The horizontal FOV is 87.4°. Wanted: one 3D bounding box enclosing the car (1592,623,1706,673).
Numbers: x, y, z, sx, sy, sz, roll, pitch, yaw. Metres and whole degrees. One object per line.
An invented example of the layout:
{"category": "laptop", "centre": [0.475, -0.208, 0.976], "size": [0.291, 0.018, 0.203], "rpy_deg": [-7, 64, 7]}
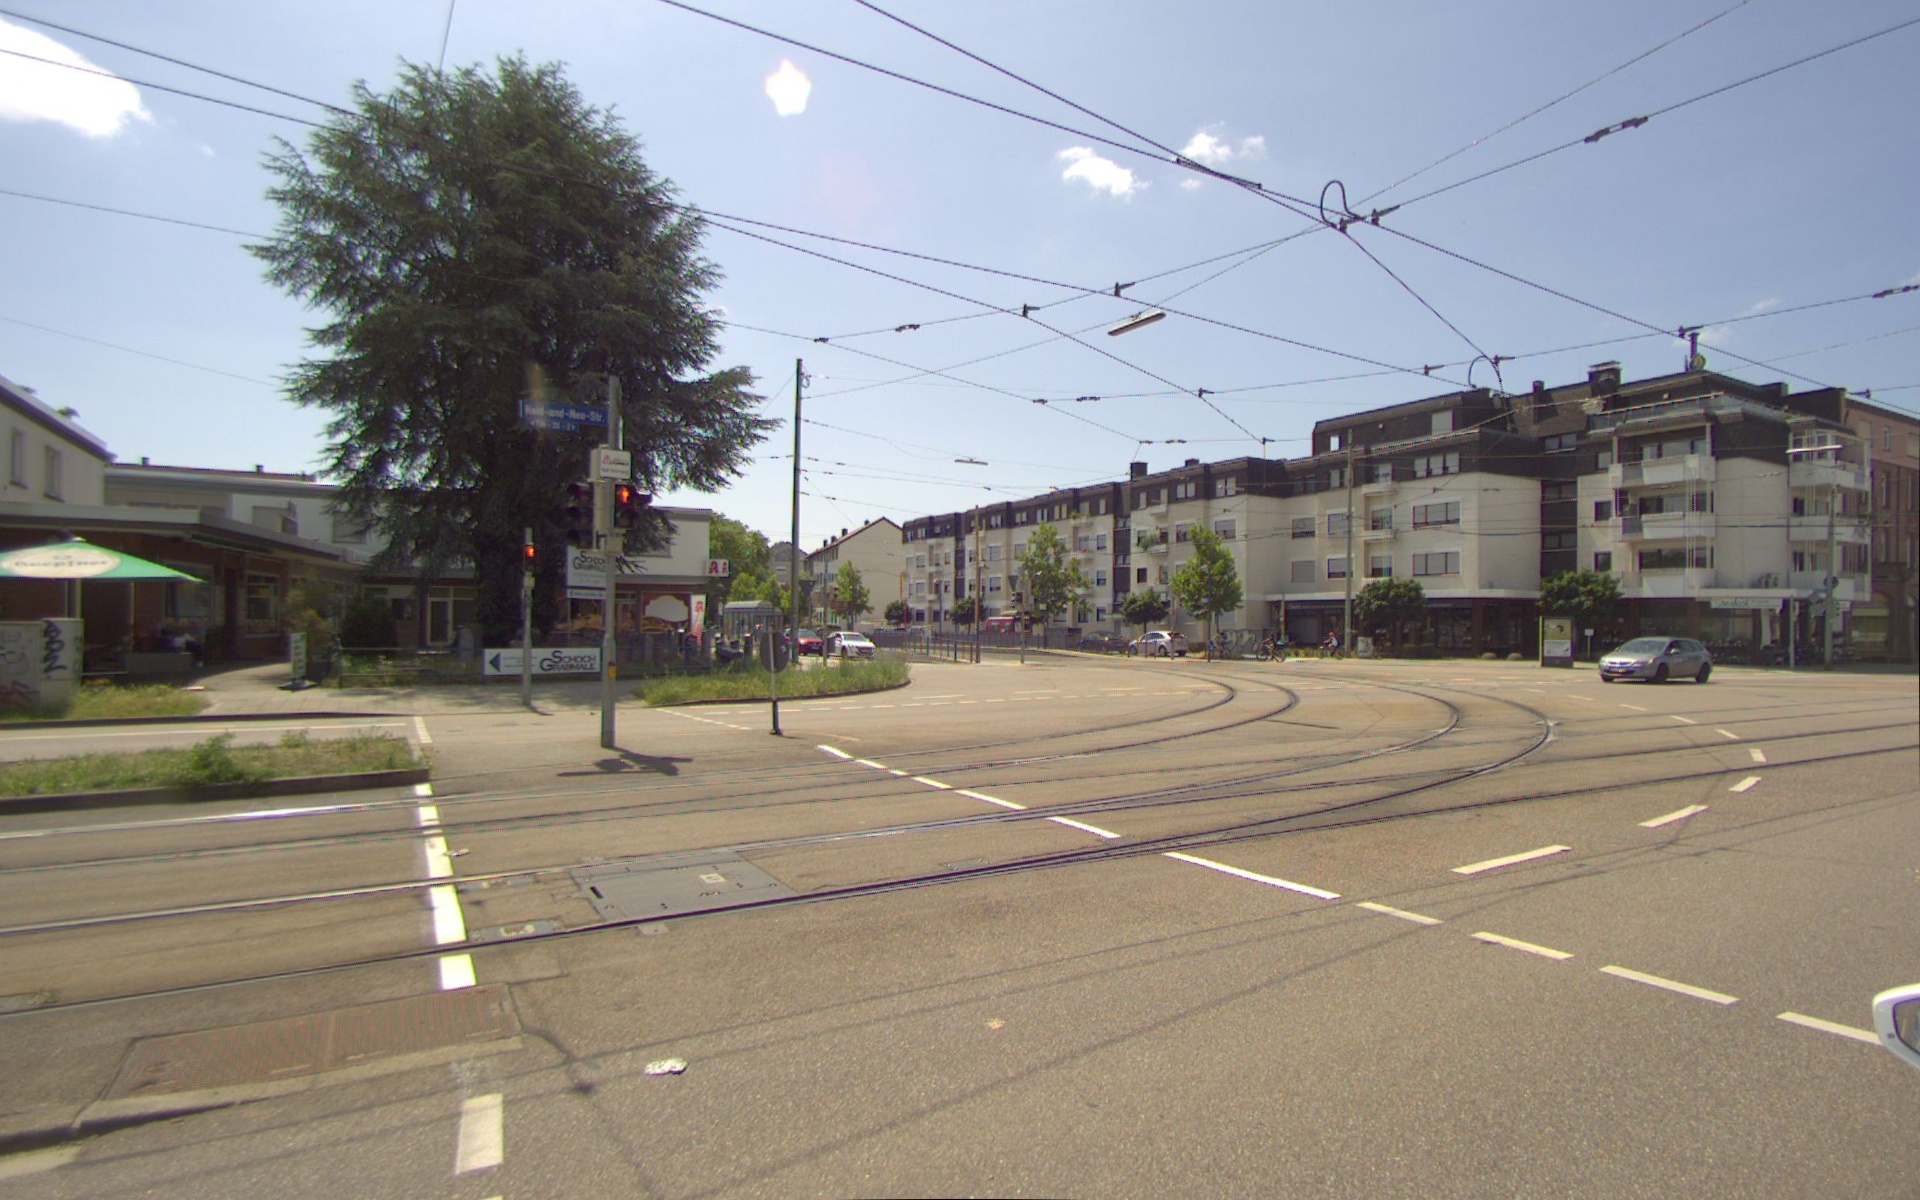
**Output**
{"category": "car", "centre": [22.550, 1.528, 32.831], "size": [4.365, 1.491, 1.977], "rpy_deg": [2, -1, -40]}

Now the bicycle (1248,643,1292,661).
{"category": "bicycle", "centre": [16.095, 2.702, 52.260], "size": [2.226, 0.892, 0.416], "rpy_deg": [-3, -4, 43]}

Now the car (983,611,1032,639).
{"category": "car", "centre": [3.558, 1.877, 75.719], "size": [1.975, 2.040, 3.971], "rpy_deg": [1, -2, -28]}

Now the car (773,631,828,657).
{"category": "car", "centre": [-9.480, 2.627, 59.464], "size": [1.976, 1.520, 3.971], "rpy_deg": [2, -4, -28]}

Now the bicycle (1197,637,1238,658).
{"category": "bicycle", "centre": [13.981, 2.604, 54.564], "size": [0.513, 1.115, 2.230], "rpy_deg": [3, -4, -42]}

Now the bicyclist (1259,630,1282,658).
{"category": "bicyclist", "centre": [16.131, 2.305, 52.230], "size": [0.951, 1.441, 0.627], "rpy_deg": [-2, -4, 43]}

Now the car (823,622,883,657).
{"category": "car", "centre": [-5.743, 2.127, 53.413], "size": [1.876, 1.747, 3.826], "rpy_deg": [2, -4, -28]}

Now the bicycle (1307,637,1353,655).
{"category": "bicycle", "centre": [19.881, 2.500, 54.034], "size": [2.223, 0.947, 0.669], "rpy_deg": [-2, -4, 39]}

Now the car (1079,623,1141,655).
{"category": "car", "centre": [9.926, 2.603, 66.640], "size": [1.978, 2.040, 3.967], "rpy_deg": [2, -4, -31]}

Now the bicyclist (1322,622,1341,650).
{"category": "bicyclist", "centre": [19.969, 1.951, 53.986], "size": [0.835, 1.487, 0.654], "rpy_deg": [-2, -4, 38]}

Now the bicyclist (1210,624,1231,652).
{"category": "bicyclist", "centre": [14.106, 2.063, 54.449], "size": [0.731, 1.506, 0.843], "rpy_deg": [3, -4, -41]}

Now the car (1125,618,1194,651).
{"category": "car", "centre": [12.057, 2.074, 60.830], "size": [1.978, 1.938, 3.966], "rpy_deg": [1, -2, -31]}
